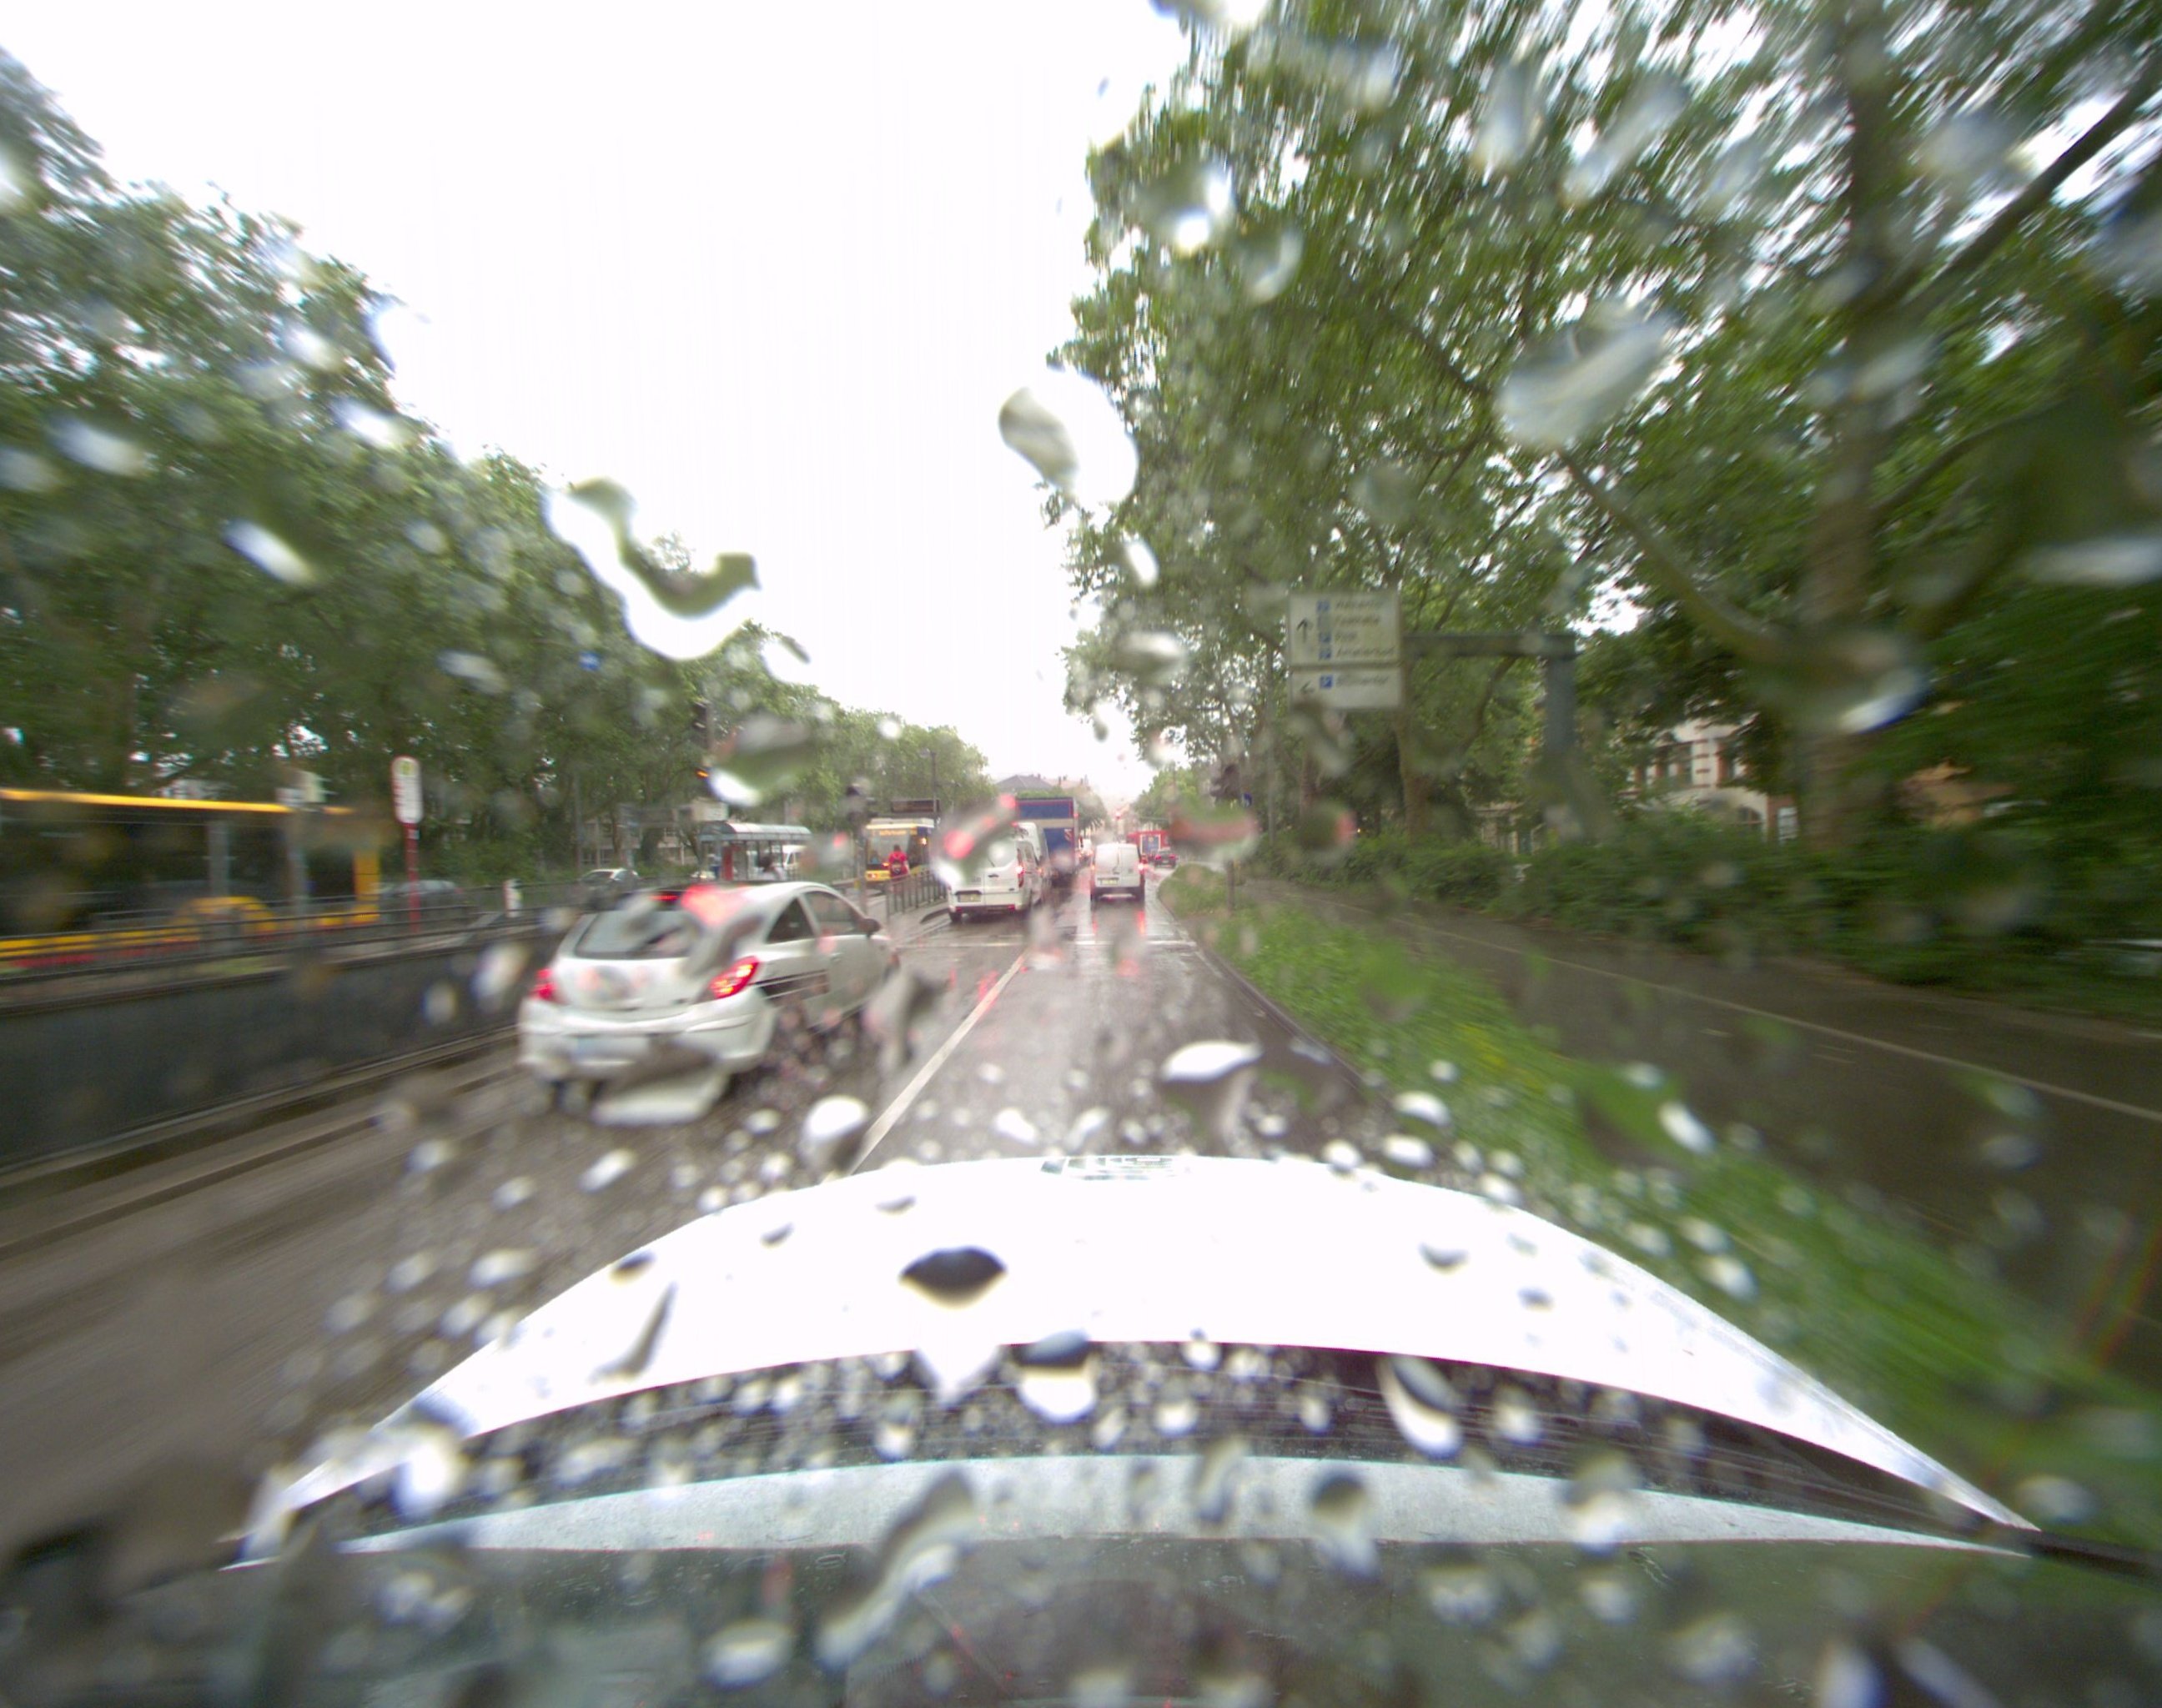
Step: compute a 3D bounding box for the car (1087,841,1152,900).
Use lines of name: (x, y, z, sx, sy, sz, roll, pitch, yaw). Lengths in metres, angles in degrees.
car: (1.246, 0.536, 26.809, 1.951, 1.777, 3.571, -1, -1, 2)

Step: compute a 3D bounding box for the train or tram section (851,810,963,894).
train or tram section: (-7.736, -0.177, 37.573, 2.950, 3.285, 8.364, -3, 1, 2)

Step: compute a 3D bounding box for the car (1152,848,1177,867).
car: (6.938, 0.266, 67.410, 1.983, 1.542, 4.007, -2, 0, 6)

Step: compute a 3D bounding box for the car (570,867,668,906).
car: (-20.914, 1.438, 37.061, 1.926, 1.517, 4.003, -3, 0, 3)

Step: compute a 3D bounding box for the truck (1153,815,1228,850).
truck: (17.544, -3.420, 130.922, 11.268, 4.899, 3.306, -3, 1, 20)

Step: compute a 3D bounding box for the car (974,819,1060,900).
car: (-2.153, 0.208, 29.514, 2.320, 2.557, 6.118, -1, -1, 3)

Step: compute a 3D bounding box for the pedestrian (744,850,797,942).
pedestrian: (-6.082, 0.805, 15.986, 0.675, 1.738, 0.808, -2, 0, 2)

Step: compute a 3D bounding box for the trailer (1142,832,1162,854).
trailer: (8.132, -1.198, 93.011, 1.983, 2.317, 4.677, -1, -1, 7)

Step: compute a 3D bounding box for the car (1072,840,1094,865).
car: (0.247, -0.151, 81.403, 1.986, 2.442, 4.614, 0, 0, 2)

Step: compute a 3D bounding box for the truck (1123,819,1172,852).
truck: (10.917, -3.077, 133.292, 7.097, 4.899, 3.306, -3, 1, 20)

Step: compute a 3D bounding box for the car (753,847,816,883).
car: (-20.076, 0.685, 55.477, 1.984, 2.223, 5.231, -2, 0, 4)

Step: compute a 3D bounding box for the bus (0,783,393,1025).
bus: (-18.623, 0.808, 13.962, 3.018, 3.838, 12.249, -1, 0, 1)

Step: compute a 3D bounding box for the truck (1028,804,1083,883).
truck: (-1.264, -0.541, 42.836, 2.571, 3.904, 4.001, -1, 0, 1)

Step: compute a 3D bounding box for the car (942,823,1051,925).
car: (-2.006, 0.473, 21.077, 1.985, 2.262, 5.292, -1, -1, 3)

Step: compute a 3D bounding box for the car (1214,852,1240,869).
car: (14.411, 0.632, 80.757, 1.816, 1.490, 4.354, -3, 1, 1)

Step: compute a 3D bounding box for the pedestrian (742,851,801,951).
pedestrian: (-5.602, 0.824, 14.761, 0.713, 1.744, 0.751, -2, 0, 1)

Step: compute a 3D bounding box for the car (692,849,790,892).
car: (-17.367, 0.794, 42.051, 2.175, 2.013, 6.118, -2, 0, 3)

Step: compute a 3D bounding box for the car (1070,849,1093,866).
car: (0.084, 0.301, 75.881, 1.986, 1.578, 4.294, 0, 0, 2)

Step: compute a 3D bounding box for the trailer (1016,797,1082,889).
trailer: (-1.350, -0.508, 38.744, 2.581, 3.899, 7.638, -1, 0, 1)

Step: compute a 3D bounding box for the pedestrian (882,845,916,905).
pedestrian: (-5.316, 0.618, 23.790, 0.787, 1.714, 0.771, 0, -1, 1)

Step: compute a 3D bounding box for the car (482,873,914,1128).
car: (-2.755, 0.948, 6.912, 1.719, 1.479, 3.807, -1, -1, 2)

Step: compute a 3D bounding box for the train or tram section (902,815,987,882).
train or tram section: (-7.500, -0.343, 45.976, 2.968, 3.285, 8.434, -3, 1, 2)
